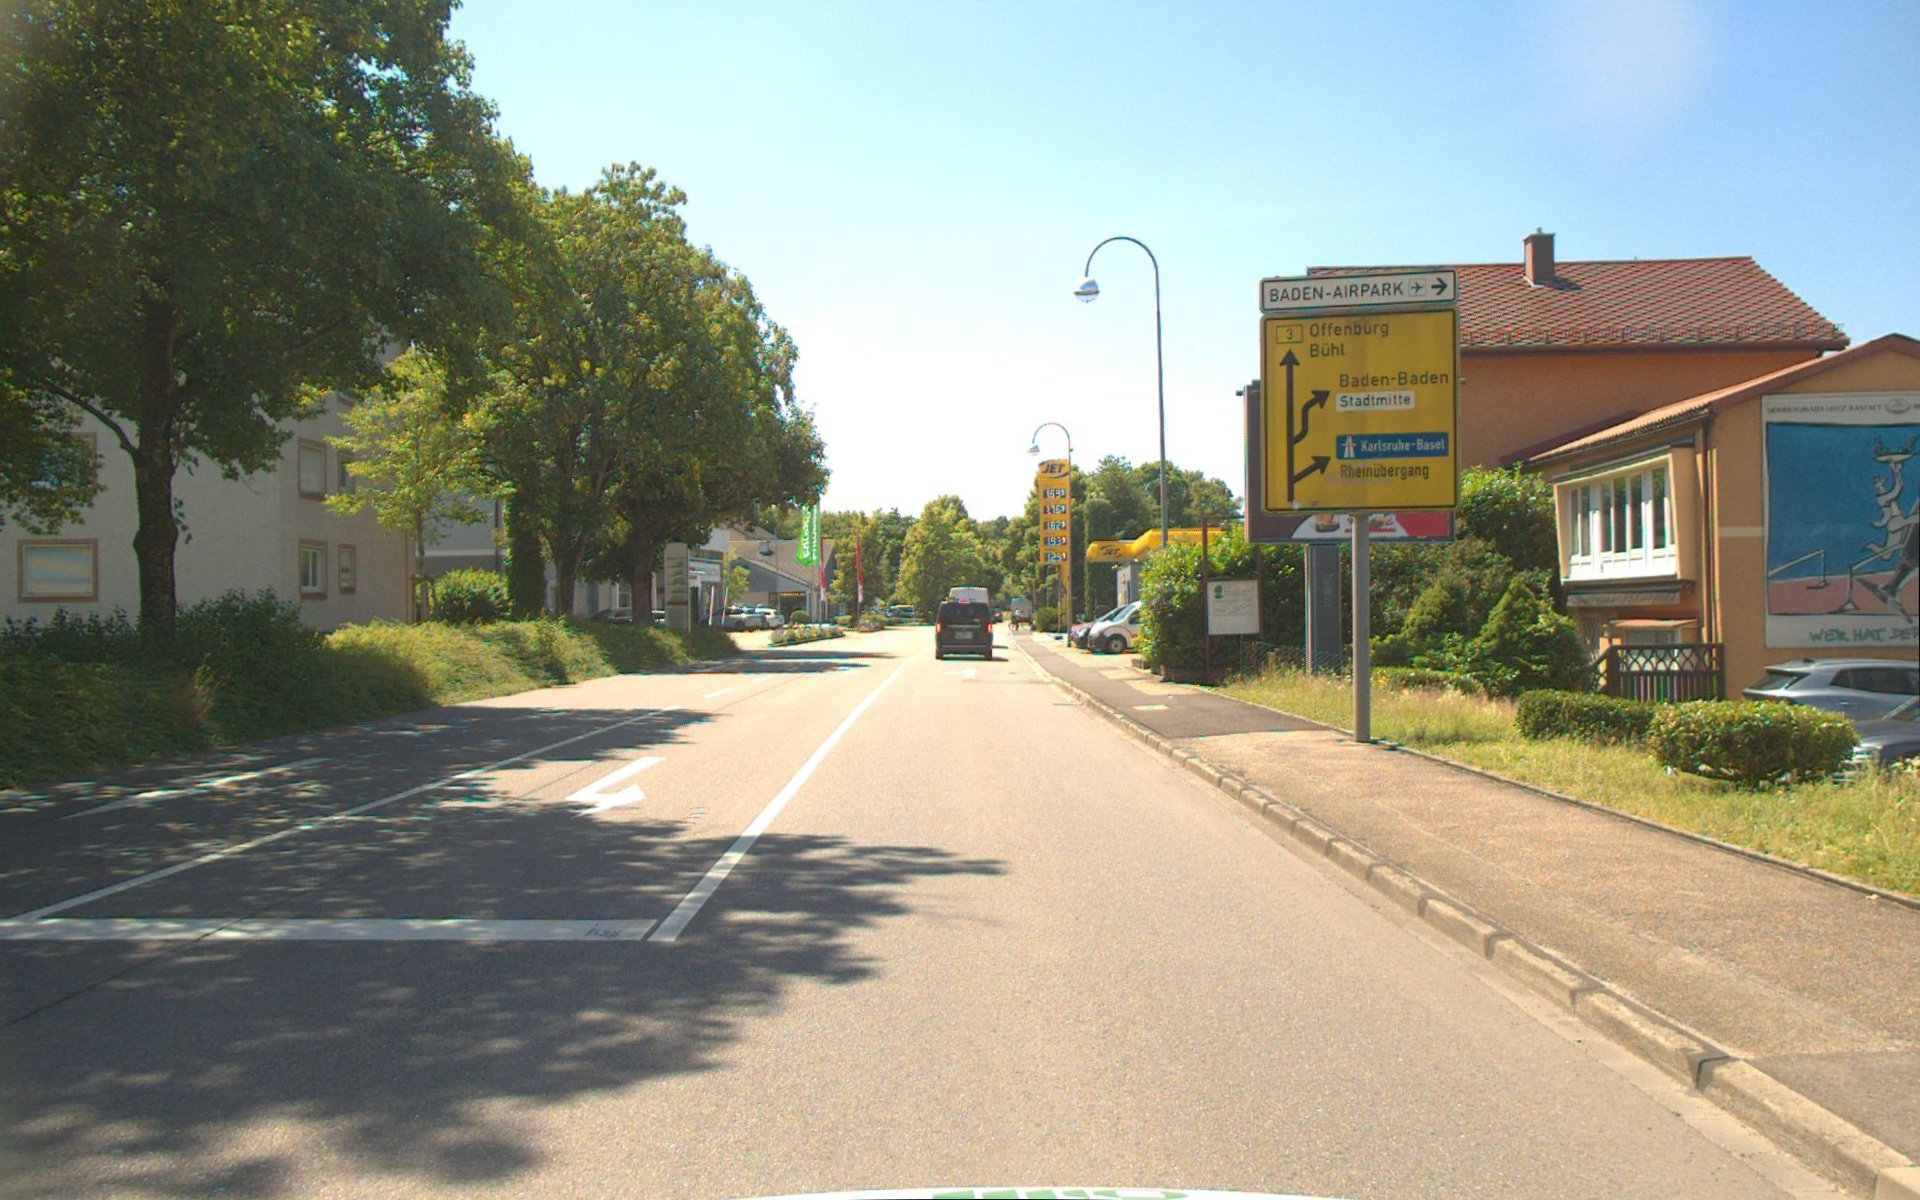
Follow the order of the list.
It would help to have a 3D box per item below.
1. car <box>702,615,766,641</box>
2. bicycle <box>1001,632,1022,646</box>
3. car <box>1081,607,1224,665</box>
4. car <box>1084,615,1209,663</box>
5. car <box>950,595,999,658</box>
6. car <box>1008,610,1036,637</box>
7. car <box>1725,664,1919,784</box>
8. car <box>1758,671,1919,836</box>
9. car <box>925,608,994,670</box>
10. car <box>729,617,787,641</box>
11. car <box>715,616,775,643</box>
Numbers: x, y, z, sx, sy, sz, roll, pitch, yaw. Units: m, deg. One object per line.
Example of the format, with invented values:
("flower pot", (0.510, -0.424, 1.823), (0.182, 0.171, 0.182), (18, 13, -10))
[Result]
("car", (-15.851, 1.949, 116.039), (3.956, 1.736, 1.904), (1, 0, 17))
("bicycle", (3.760, 2.817, 119.938), (0.548, 0.902, 1.710), (1, 2, 43))
("car", (6.516, 1.192, 56.250), (4.467, 1.747, 1.998), (-2, 0, -5))
("car", (6.552, 1.375, 58.423), (4.075, 1.482, 1.905), (-2, 0, -5))
("car", (0.625, 1.166, 74.642), (2.077, 2.725, 5.661), (1, 0, 0))
("car", (6.378, 2.391, 169.742), (2.302, 2.591, 4.960), (1, 0, 9))
("car", (13.717, 1.781, 24.222), (4.169, 1.627, 1.891), (0, 0, 6))
("car", (11.531, 1.697, 18.616), (4.184, 1.675, 1.890), (1, 0, 1))
("car", (-0.050, 1.229, 53.745), (1.954, 1.926, 3.997), (1, 0, -4))
("car", (-15.128, 2.161, 123.854), (3.902, 1.691, 2.002), (1, 0, 9))
("car", (-15.665, 2.138, 120.448), (3.902, 1.864, 1.948), (1, 0, 11))
